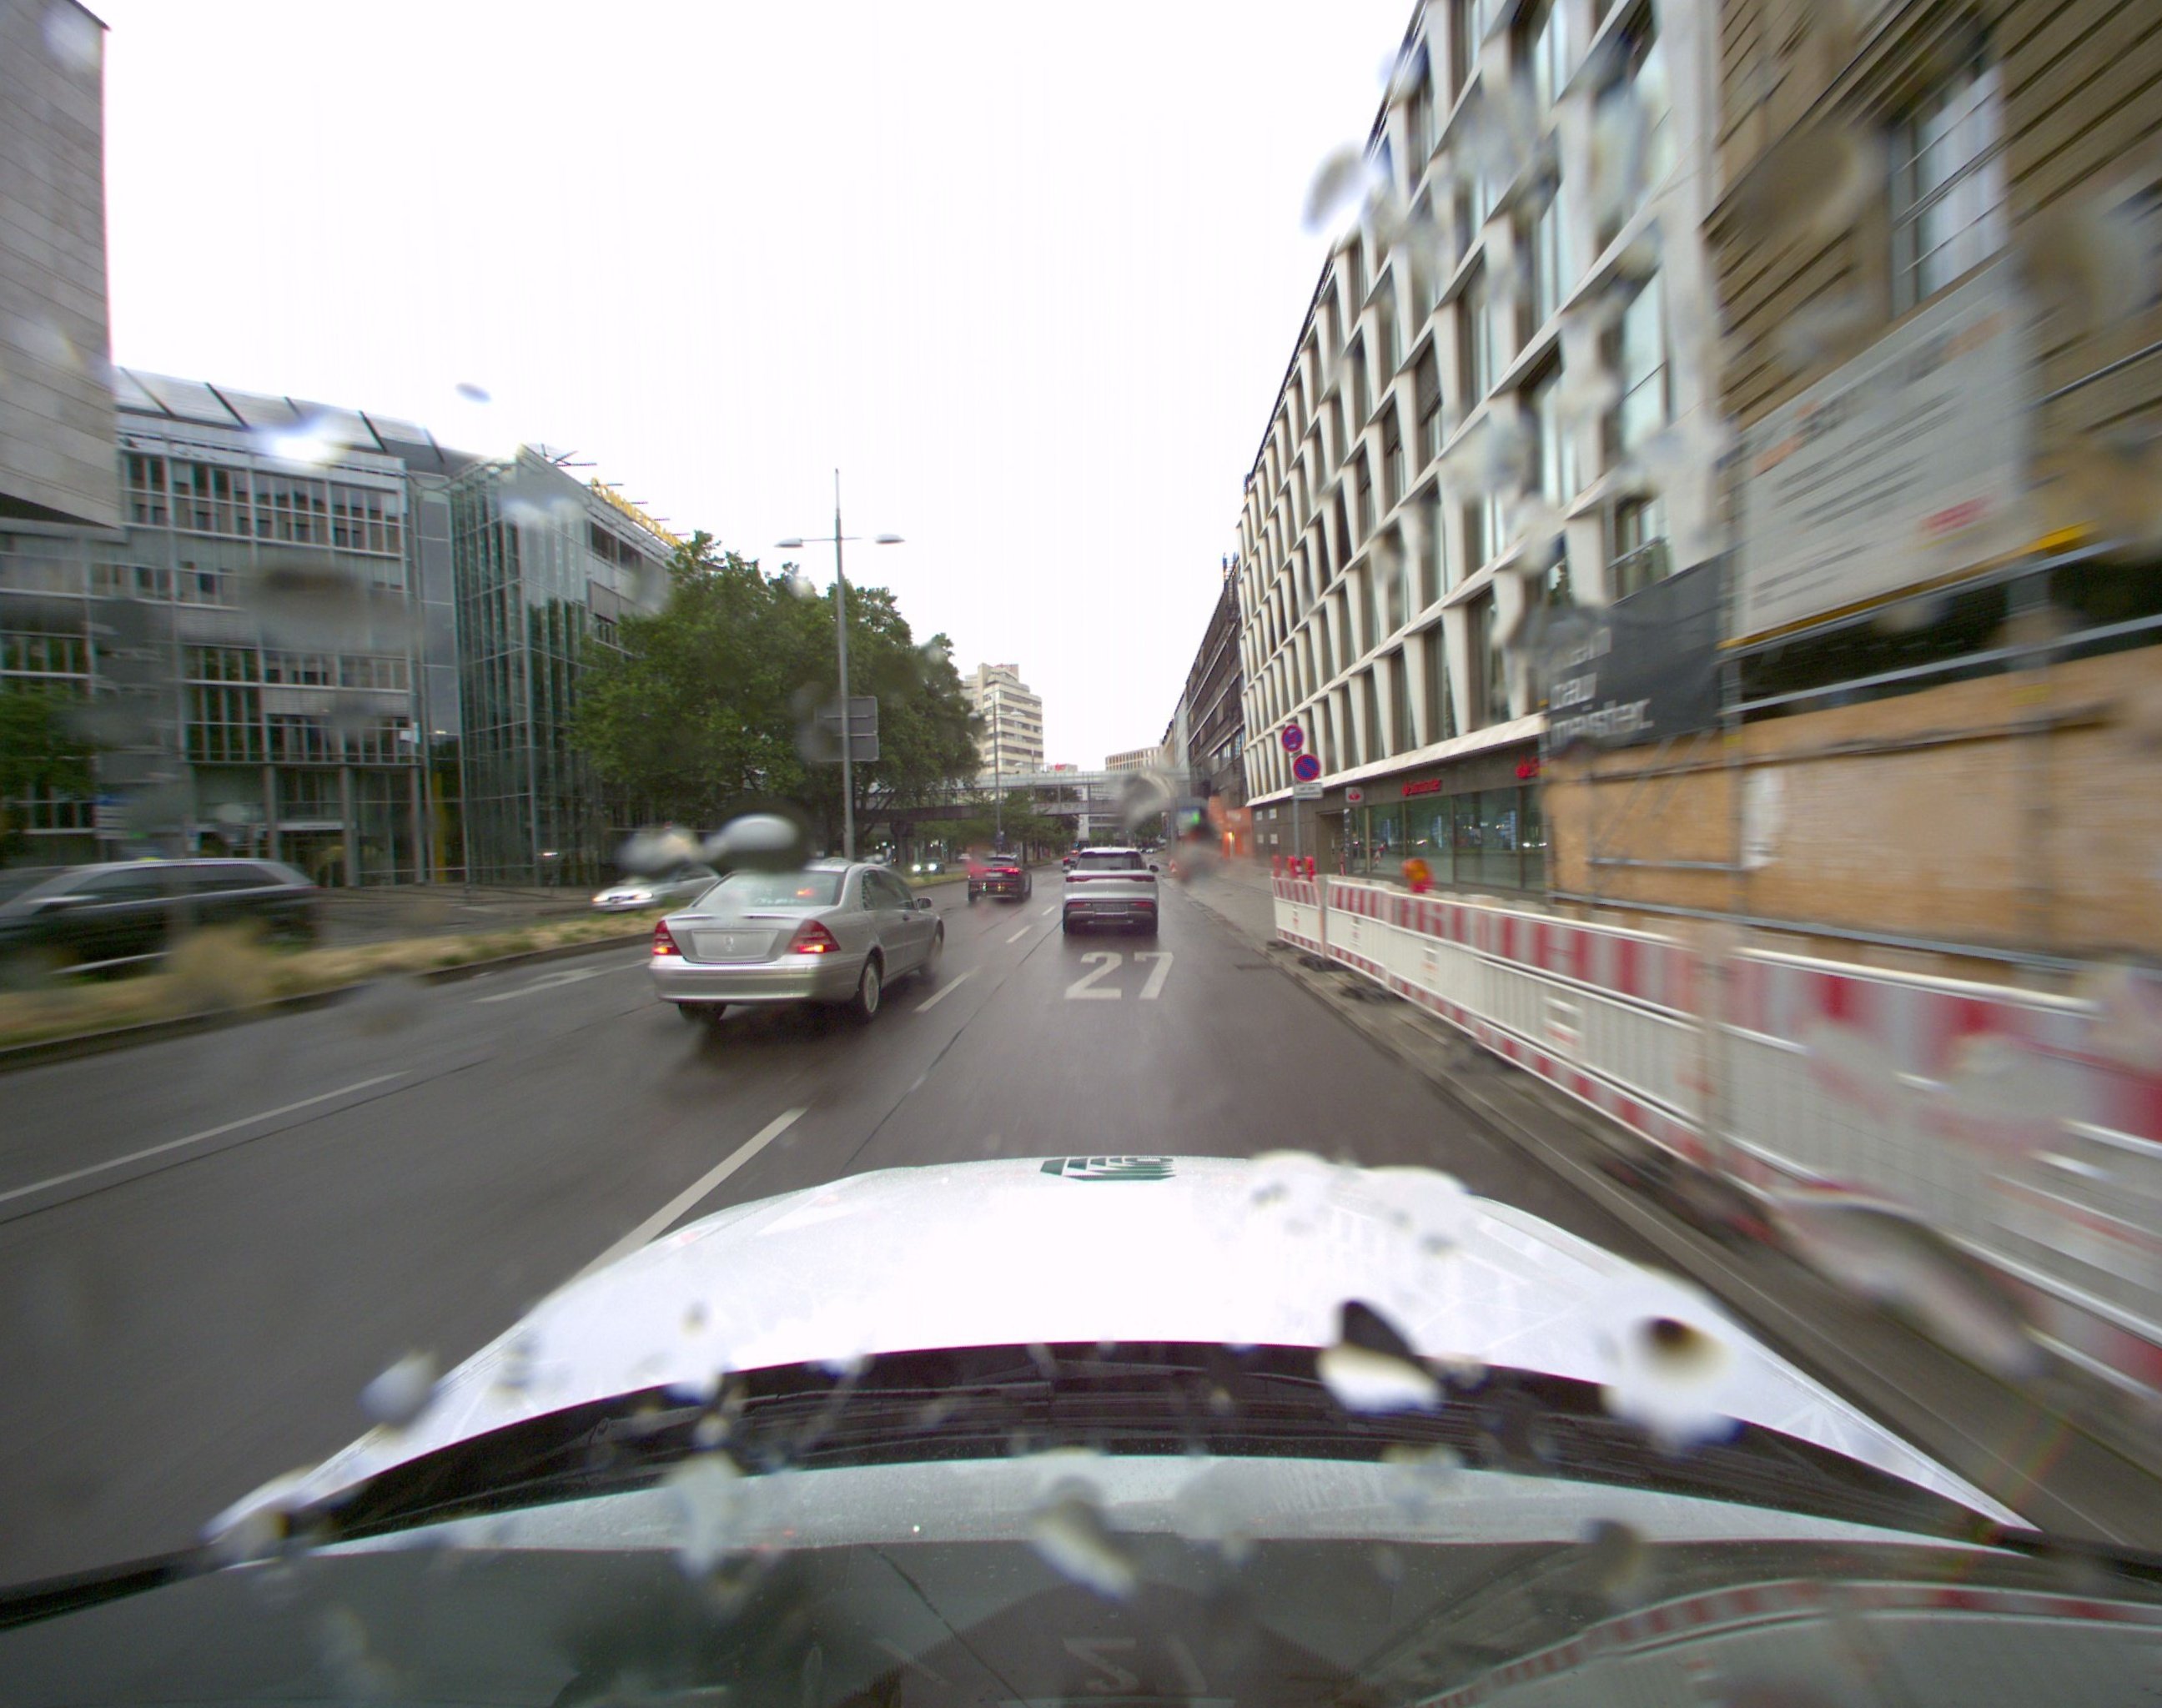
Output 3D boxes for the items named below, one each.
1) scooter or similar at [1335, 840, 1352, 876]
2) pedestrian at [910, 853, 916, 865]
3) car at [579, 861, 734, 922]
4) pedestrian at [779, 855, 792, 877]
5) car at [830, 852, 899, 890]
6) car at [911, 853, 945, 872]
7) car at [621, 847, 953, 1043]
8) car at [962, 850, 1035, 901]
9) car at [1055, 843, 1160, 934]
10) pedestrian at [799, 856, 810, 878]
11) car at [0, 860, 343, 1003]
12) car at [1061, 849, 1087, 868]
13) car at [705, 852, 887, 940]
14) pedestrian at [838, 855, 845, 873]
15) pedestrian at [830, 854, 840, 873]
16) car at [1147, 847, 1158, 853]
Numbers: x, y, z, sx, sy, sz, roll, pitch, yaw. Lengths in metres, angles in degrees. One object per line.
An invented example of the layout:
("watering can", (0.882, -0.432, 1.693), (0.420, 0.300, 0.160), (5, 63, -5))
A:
("scooter or similar", (9.369, 0.136, 29.046), (0.409, 1.236, 1.193), (-2, 0, 11))
("pedestrian", (-25.318, 0.705, 122.750), (0.740, 1.715, 1.057), (-2, 0, 2))
("car", (-10.960, 0.920, 21.382), (1.589, 1.360, 4.122), (-2, 0, 5))
("pedestrian", (-24.812, 1.032, 68.362), (0.732, 1.807, 0.803), (-2, 1, 3))
("car", (-10.390, 0.794, 39.470), (1.866, 1.680, 4.684), (-2, 0, 3))
("car", (-12.678, 0.682, 67.715), (1.684, 1.438, 4.762), (-2, 0, 3))
("car", (-2.612, 0.724, 8.438), (1.665, 1.479, 4.363), (-1, -1, 2))
("car", (-2.604, 0.649, 26.508), (1.767, 1.457, 4.002), (-2, 0, 2))
("car", (0.566, 0.610, 16.597), (1.893, 1.621, 4.003), (0, 0, 3))
("pedestrian", (-23.101, 1.083, 68.090), (0.594, 1.807, 0.760), (-2, 1, 3))
("car", (-11.842, 0.838, 9.713), (1.693, 1.437, 4.586), (-2, 0, 3))
("car", (-0.543, 0.368, 69.766), (1.803, 1.578, 4.006), (-1, 0, 5))
("car", (-5.622, 0.733, 16.858), (1.865, 1.479, 4.880), (-2, 0, 2))
("pedestrian", (-23.787, 1.003, 80.899), (0.557, 1.686, 0.511), (-2, 1, 2))
("pedestrian", (-24.393, 0.963, 80.793), (0.719, 1.807, 0.618), (-2, 1, 2))
("car", (21.686, -1.223, 247.639), (1.565, 1.538, 4.026), (-1, 0, 33))
